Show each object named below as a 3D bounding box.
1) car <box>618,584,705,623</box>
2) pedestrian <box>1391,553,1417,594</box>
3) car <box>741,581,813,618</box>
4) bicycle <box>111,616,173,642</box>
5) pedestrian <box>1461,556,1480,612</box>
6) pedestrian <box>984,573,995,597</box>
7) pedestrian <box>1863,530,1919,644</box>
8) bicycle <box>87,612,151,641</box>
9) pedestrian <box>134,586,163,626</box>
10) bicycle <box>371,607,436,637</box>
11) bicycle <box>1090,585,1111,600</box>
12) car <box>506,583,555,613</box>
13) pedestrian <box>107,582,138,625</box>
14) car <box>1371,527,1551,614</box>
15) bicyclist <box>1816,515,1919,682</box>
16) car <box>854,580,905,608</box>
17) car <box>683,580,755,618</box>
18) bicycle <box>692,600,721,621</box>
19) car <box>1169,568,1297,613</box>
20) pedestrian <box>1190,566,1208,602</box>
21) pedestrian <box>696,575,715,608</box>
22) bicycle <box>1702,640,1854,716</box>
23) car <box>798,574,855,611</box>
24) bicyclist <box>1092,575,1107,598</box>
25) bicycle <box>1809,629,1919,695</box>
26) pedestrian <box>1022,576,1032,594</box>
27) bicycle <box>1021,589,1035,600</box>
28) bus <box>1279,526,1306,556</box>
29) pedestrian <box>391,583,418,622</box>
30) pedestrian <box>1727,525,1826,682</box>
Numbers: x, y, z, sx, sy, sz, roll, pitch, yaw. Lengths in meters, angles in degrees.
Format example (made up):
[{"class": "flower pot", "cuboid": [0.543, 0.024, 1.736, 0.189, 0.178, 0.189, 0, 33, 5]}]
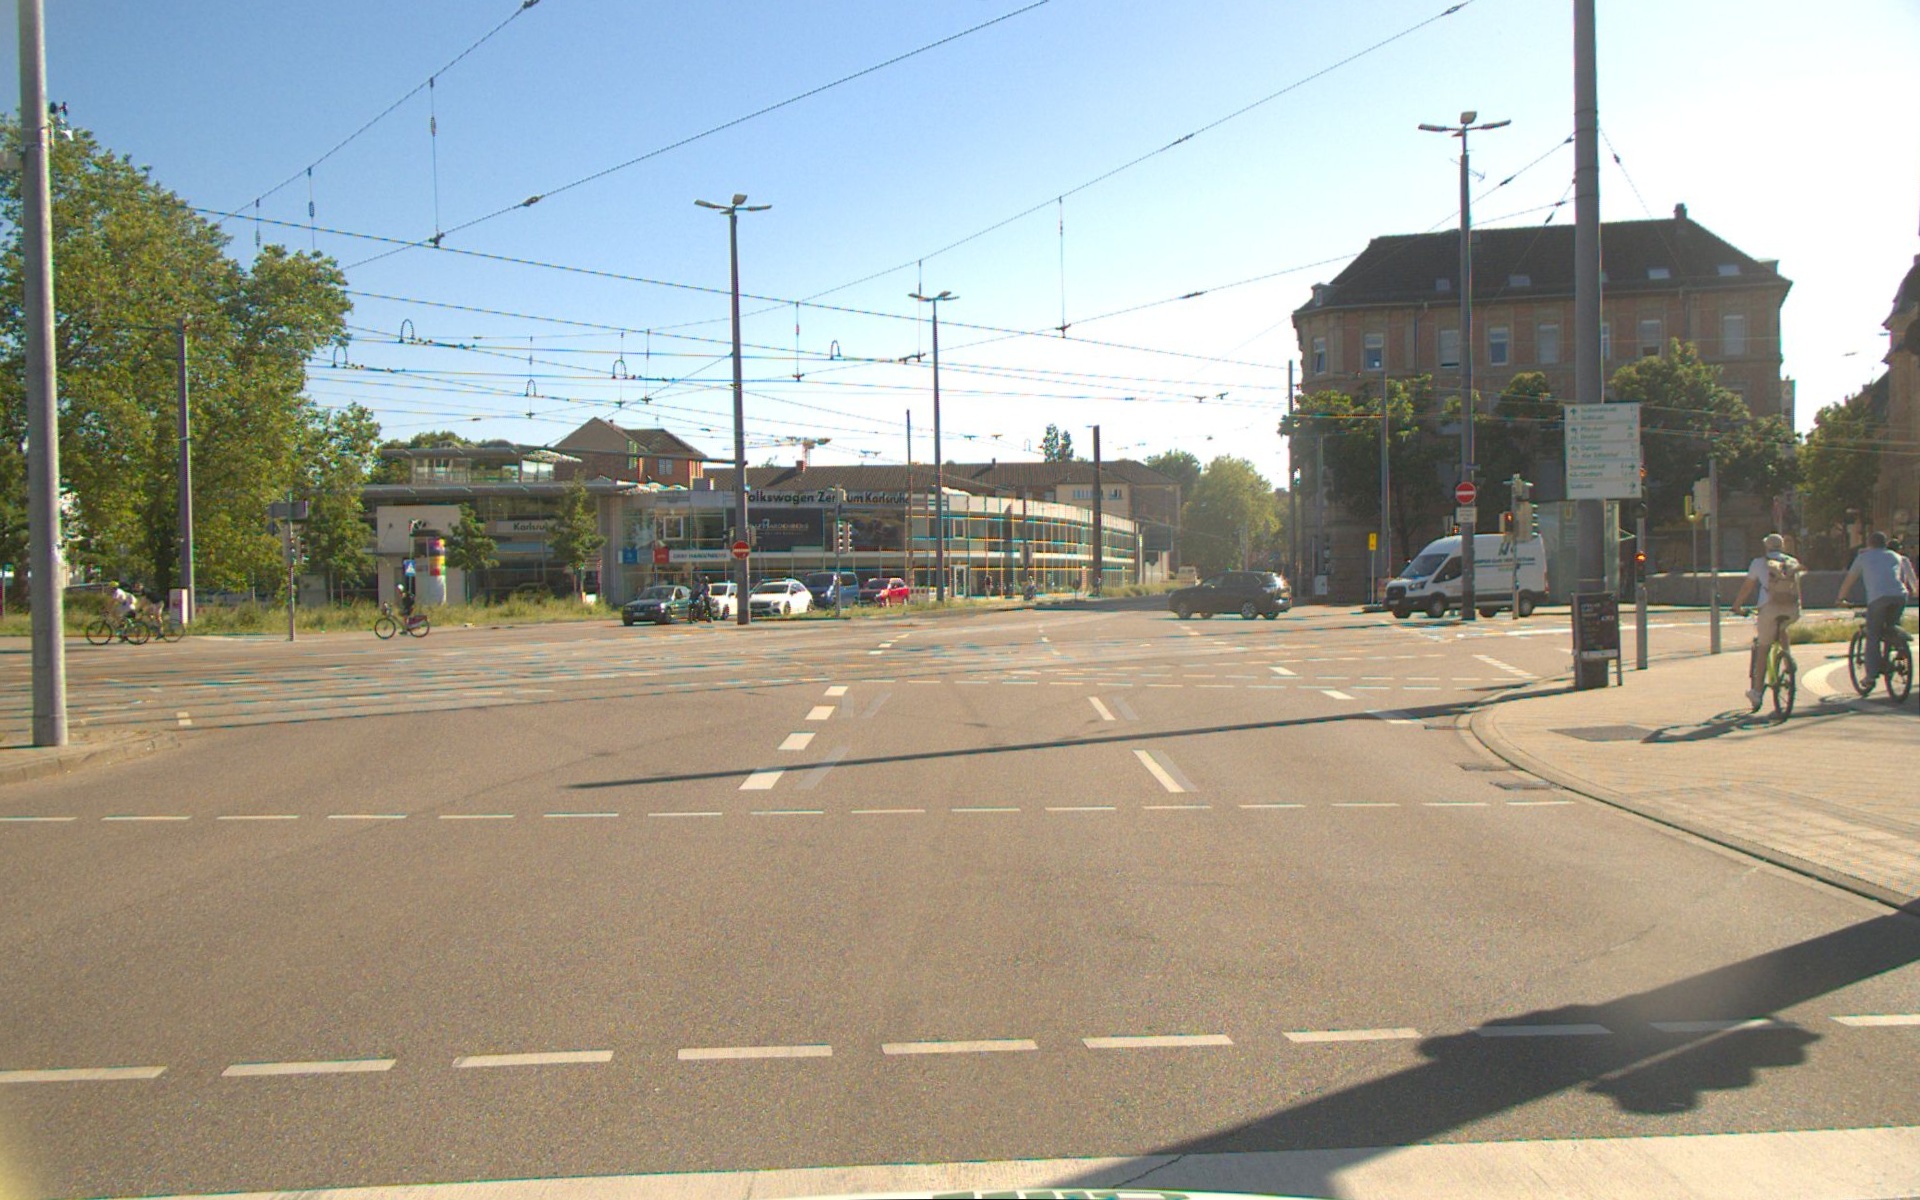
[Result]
[{"class": "car", "cuboid": [-10.959, 0.107, 60.973, 1.667, 1.378, 3.703, -1, 1, 16]}, {"class": "pedestrian", "cuboid": [18.275, -1.077, 68.067, 0.713, 1.660, 0.746, -1, 0, -45]}, {"class": "car", "cuboid": [-7.180, -0.041, 65.101, 1.591, 1.406, 3.741, -1, 1, 14]}, {"class": "bicycle", "cuboid": [-24.323, 0.850, 49.176, 1.605, 0.730, 0.421, -1, 1, -21]}, {"class": "pedestrian", "cuboid": [18.915, -0.588, 61.301, 0.453, 2.049, 0.449, -1, 1, -18]}, {"class": "pedestrian", "cuboid": [2.080, -1.050, 116.263, 0.532, 1.718, 0.628, -1, 0, 32]}, {"class": "pedestrian", "cuboid": [15.811, -0.218, 27.943, 0.880, 1.892, 0.924, -1, 0, 34]}, {"class": "bicycle", "cuboid": [-24.266, 0.759, 47.725, 1.607, 0.772, 0.421, -1, 1, -24]}, {"class": "pedestrian", "cuboid": [-24.155, 0.175, 49.240, 0.736, 1.146, 0.421, -1, 0, -21]}, {"class": "bicycle", "cuboid": [-18.079, 0.712, 53.721, 1.974, 0.929, 0.559, -1, 1, -19]}, {"class": "bicycle", "cuboid": [10.268, -0.549, 120.898, 0.794, 1.063, 2.124, -1, 1, 28]}, {"class": "car", "cuboid": [-25.893, -0.135, 99.761, 1.926, 1.735, 4.083, -1, 1, -1]}, {"class": "pedestrian", "cuboid": [-24.181, 0.110, 47.765, 0.737, 1.225, 0.421, -1, 0, -24]}, {"class": "car", "cuboid": [16.789, -1.016, 55.382, 5.826, 2.792, 2.128, -1, 1, -24]}, {"class": "bicyclist", "cuboid": [10.242, -0.025, 18.567, 0.732, 1.809, 0.924, -2, 0, -2]}, {"class": "car", "cuboid": [-4.174, -0.346, 86.288, 1.591, 1.388, 3.688, -1, 1, 16]}, {"class": "car", "cuboid": [-9.730, -0.066, 66.946, 1.591, 1.448, 3.689, -1, 1, 14]}, {"class": "bicycle", "cuboid": [-9.273, 0.389, 60.597, 0.413, 0.730, 1.636, -1, 1, 16]}, {"class": "car", "cuboid": [9.691, -0.334, 58.852, 4.182, 1.529, 1.697, 0, 1, 38]}, {"class": "pedestrian", "cuboid": [11.155, -0.746, 77.145, 0.785, 1.660, 0.719, -1, 0, 9]}, {"class": "pedestrian", "cuboid": [-9.309, -0.312, 60.527, 0.413, 1.225, 0.750, -1, 0, 16]}, {"class": "bicycle", "cuboid": [8.534, 0.800, 17.329, 0.527, 0.667, 1.723, -4, 1, -8]}, {"class": "car", "cuboid": [-6.357, -0.371, 79.129, 1.591, 1.722, 3.689, -1, 1, 14]}, {"class": "bicyclist", "cuboid": [10.151, -0.987, 120.626, 0.794, 1.652, 0.927, -1, 0, 28]}, {"class": "bicycle", "cuboid": [10.296, 0.688, 18.760, 0.526, 0.667, 1.467, -2, 1, -1]}, {"class": "pedestrian", "cuboid": [4.547, -1.022, 111.960, 0.414, 1.225, 0.680, -1, 0, 25]}, {"class": "bicycle", "cuboid": [4.583, -0.390, 112.020, 0.414, 0.730, 1.474, -1, 1, 25]}, {"class": "bus", "cuboid": [50.383, -8.866, 250.604, 3.754, 3.670, 24.887, 1, 0, 12]}, {"class": "pedestrian", "cuboid": [-18.045, 0.082, 53.731, 0.782, 1.225, 0.557, -1, 0, -18]}, {"class": "pedestrian", "cuboid": [8.500, 0.032, 17.241, 0.538, 1.590, 0.857, -1, 0, -6]}]
